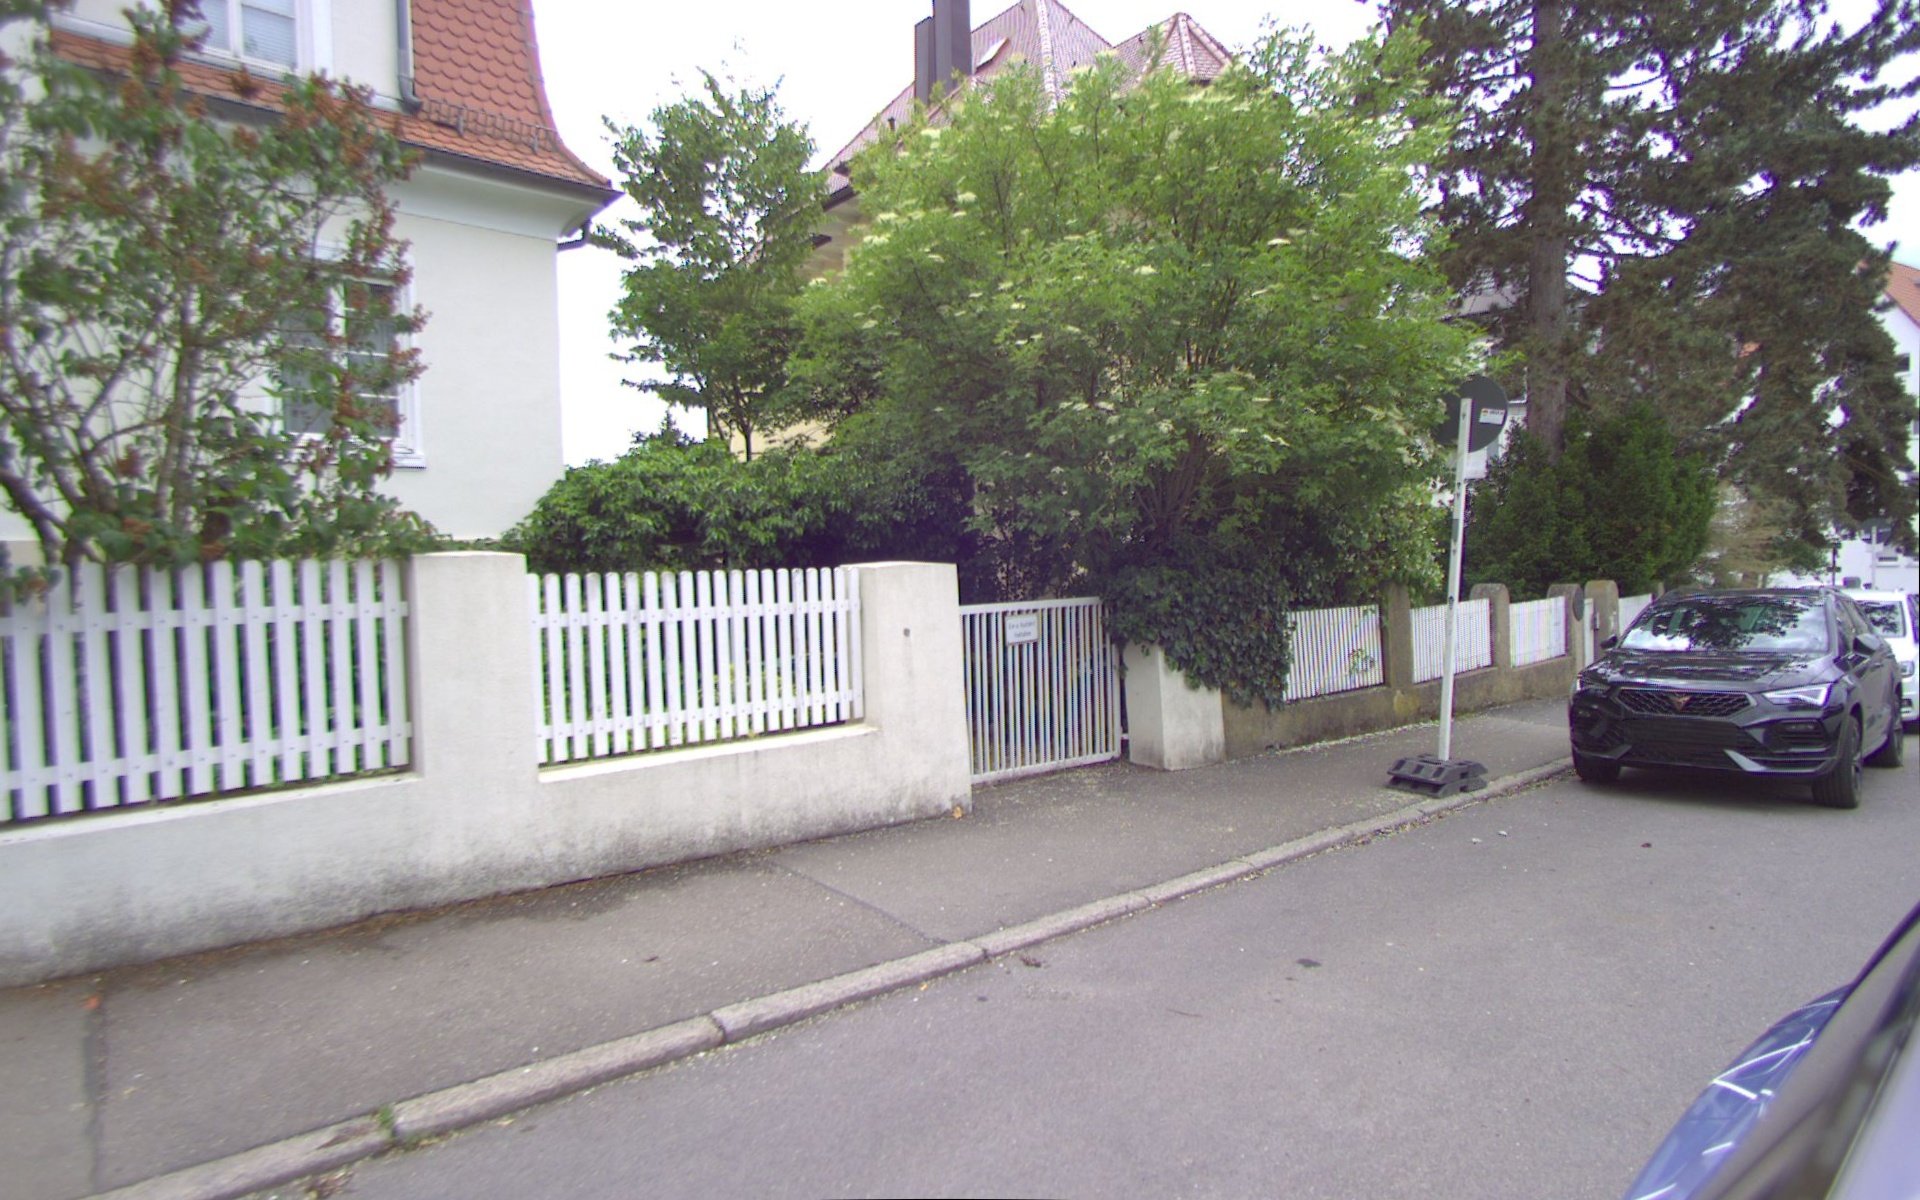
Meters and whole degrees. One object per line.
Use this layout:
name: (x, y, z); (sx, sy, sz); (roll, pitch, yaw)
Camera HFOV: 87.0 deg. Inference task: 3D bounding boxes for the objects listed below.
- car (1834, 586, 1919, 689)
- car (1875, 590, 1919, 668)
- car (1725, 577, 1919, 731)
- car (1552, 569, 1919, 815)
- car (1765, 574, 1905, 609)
car: (15.764, 0.539, 16.550); (3.981, 1.477, 1.650); (-2, 0, -41)
car: (19.234, 0.524, 19.753); (3.591, 1.418, 1.576); (-1, 0, -41)
car: (11.198, 0.563, 12.675); (4.231, 1.624, 1.787); (-1, -1, -42)
car: (6.818, 0.590, 8.723); (4.005, 1.628, 1.752); (-1, -1, -41)
car: (38.792, -0.358, 44.998); (1.728, 1.468, 4.365); (-1, 1, -28)
